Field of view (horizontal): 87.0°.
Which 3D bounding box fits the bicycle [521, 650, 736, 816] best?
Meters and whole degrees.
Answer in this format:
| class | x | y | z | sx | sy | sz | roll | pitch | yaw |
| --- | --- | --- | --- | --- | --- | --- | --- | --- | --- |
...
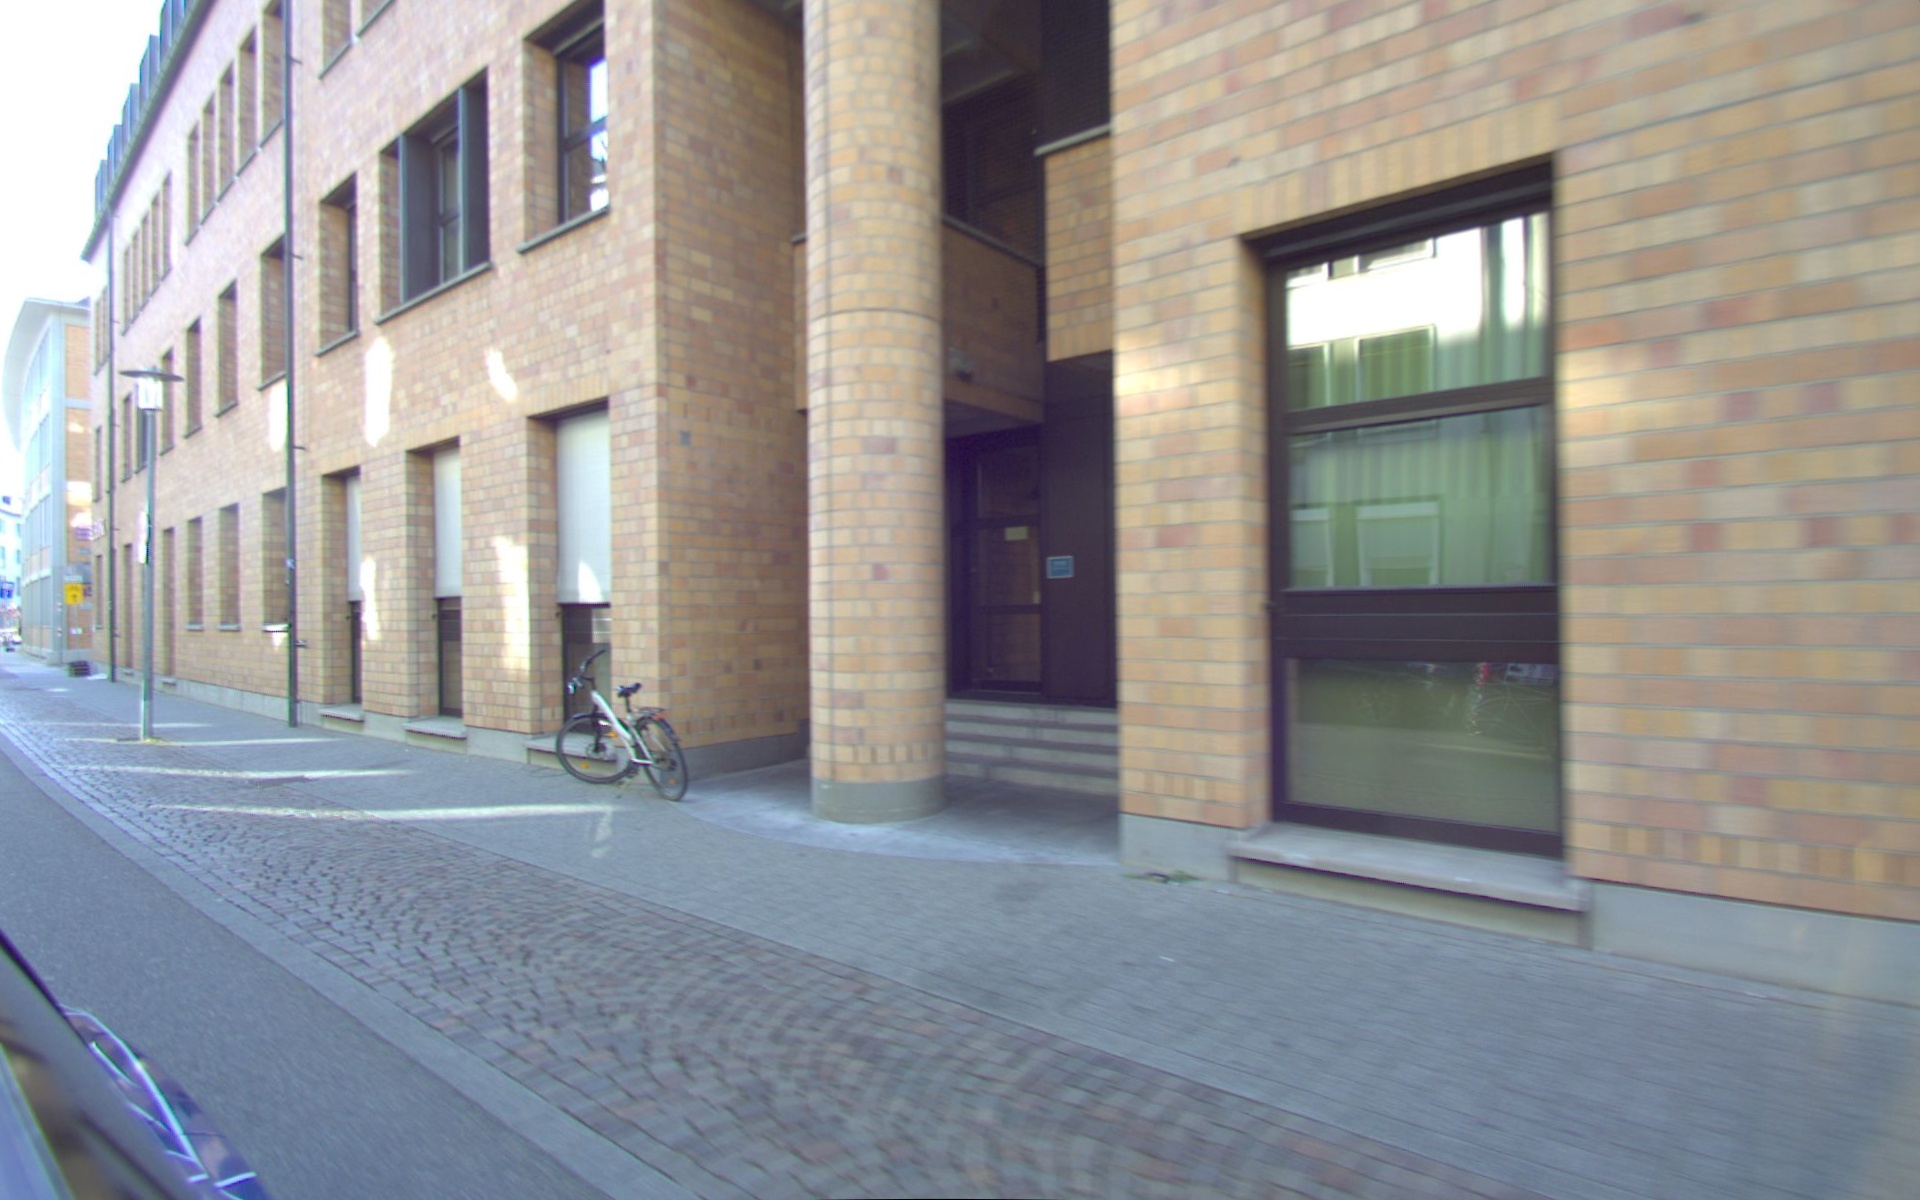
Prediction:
| class | x | y | z | sx | sy | sz | roll | pitch | yaw |
| --- | --- | --- | --- | --- | --- | --- | --- | --- | --- |
| bicycle | -2.713 | 1.022 | 8.215 | 1.799 | 1.171 | 0.626 | -2 | 1 | 33 |
